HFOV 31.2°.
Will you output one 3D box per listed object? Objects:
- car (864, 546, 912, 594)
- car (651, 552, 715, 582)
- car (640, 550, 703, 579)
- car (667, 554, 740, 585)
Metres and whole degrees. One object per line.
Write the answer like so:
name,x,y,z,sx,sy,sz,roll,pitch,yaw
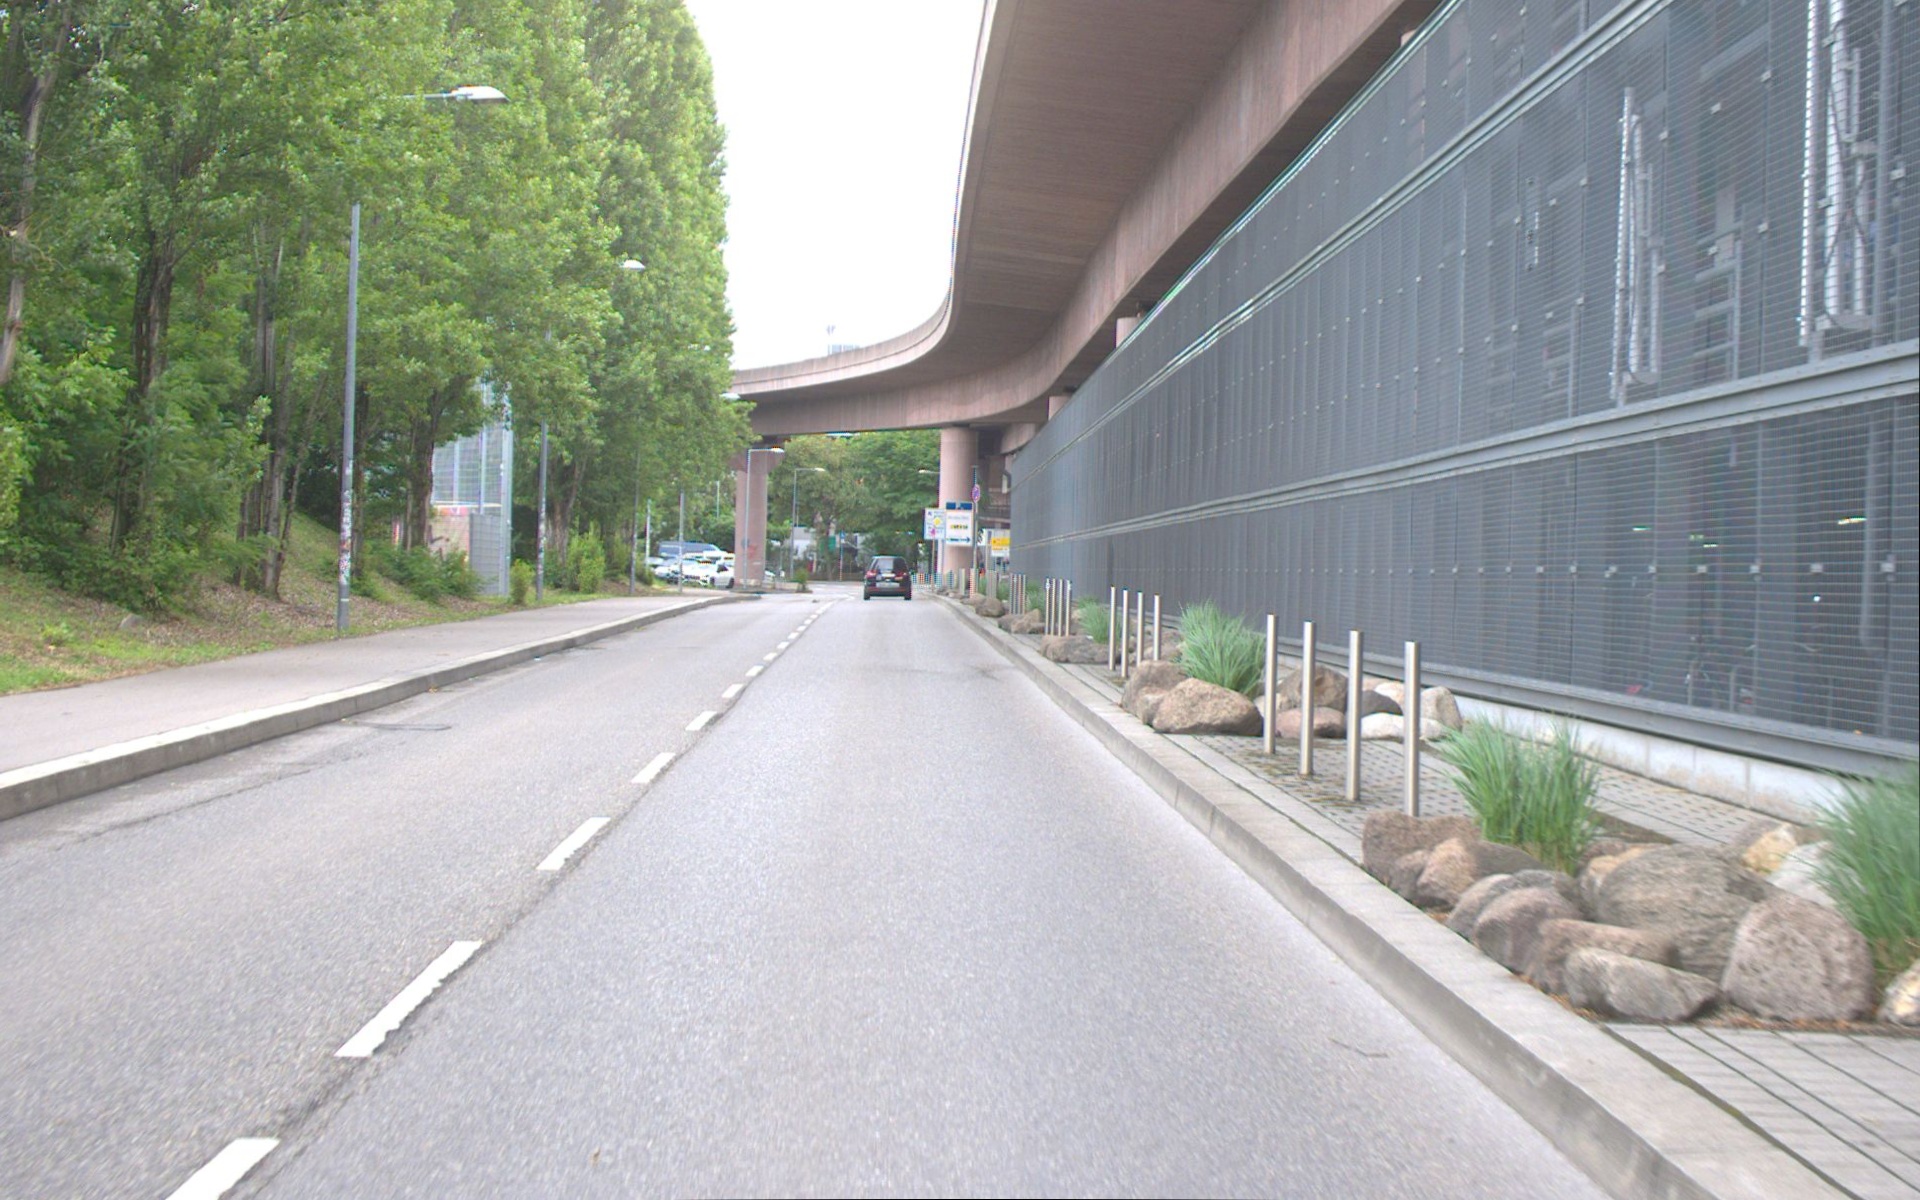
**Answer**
car,-2.810,-1.186,134.822,1.839,1.705,3.706,1,2,-1
car,-16.566,-1.994,205.830,1.724,1.711,3.664,3,3,40
car,-17.544,-2.168,209.232,1.724,1.711,3.664,3,3,40
car,-15.035,-1.795,201.488,1.884,1.711,4.143,3,3,40
